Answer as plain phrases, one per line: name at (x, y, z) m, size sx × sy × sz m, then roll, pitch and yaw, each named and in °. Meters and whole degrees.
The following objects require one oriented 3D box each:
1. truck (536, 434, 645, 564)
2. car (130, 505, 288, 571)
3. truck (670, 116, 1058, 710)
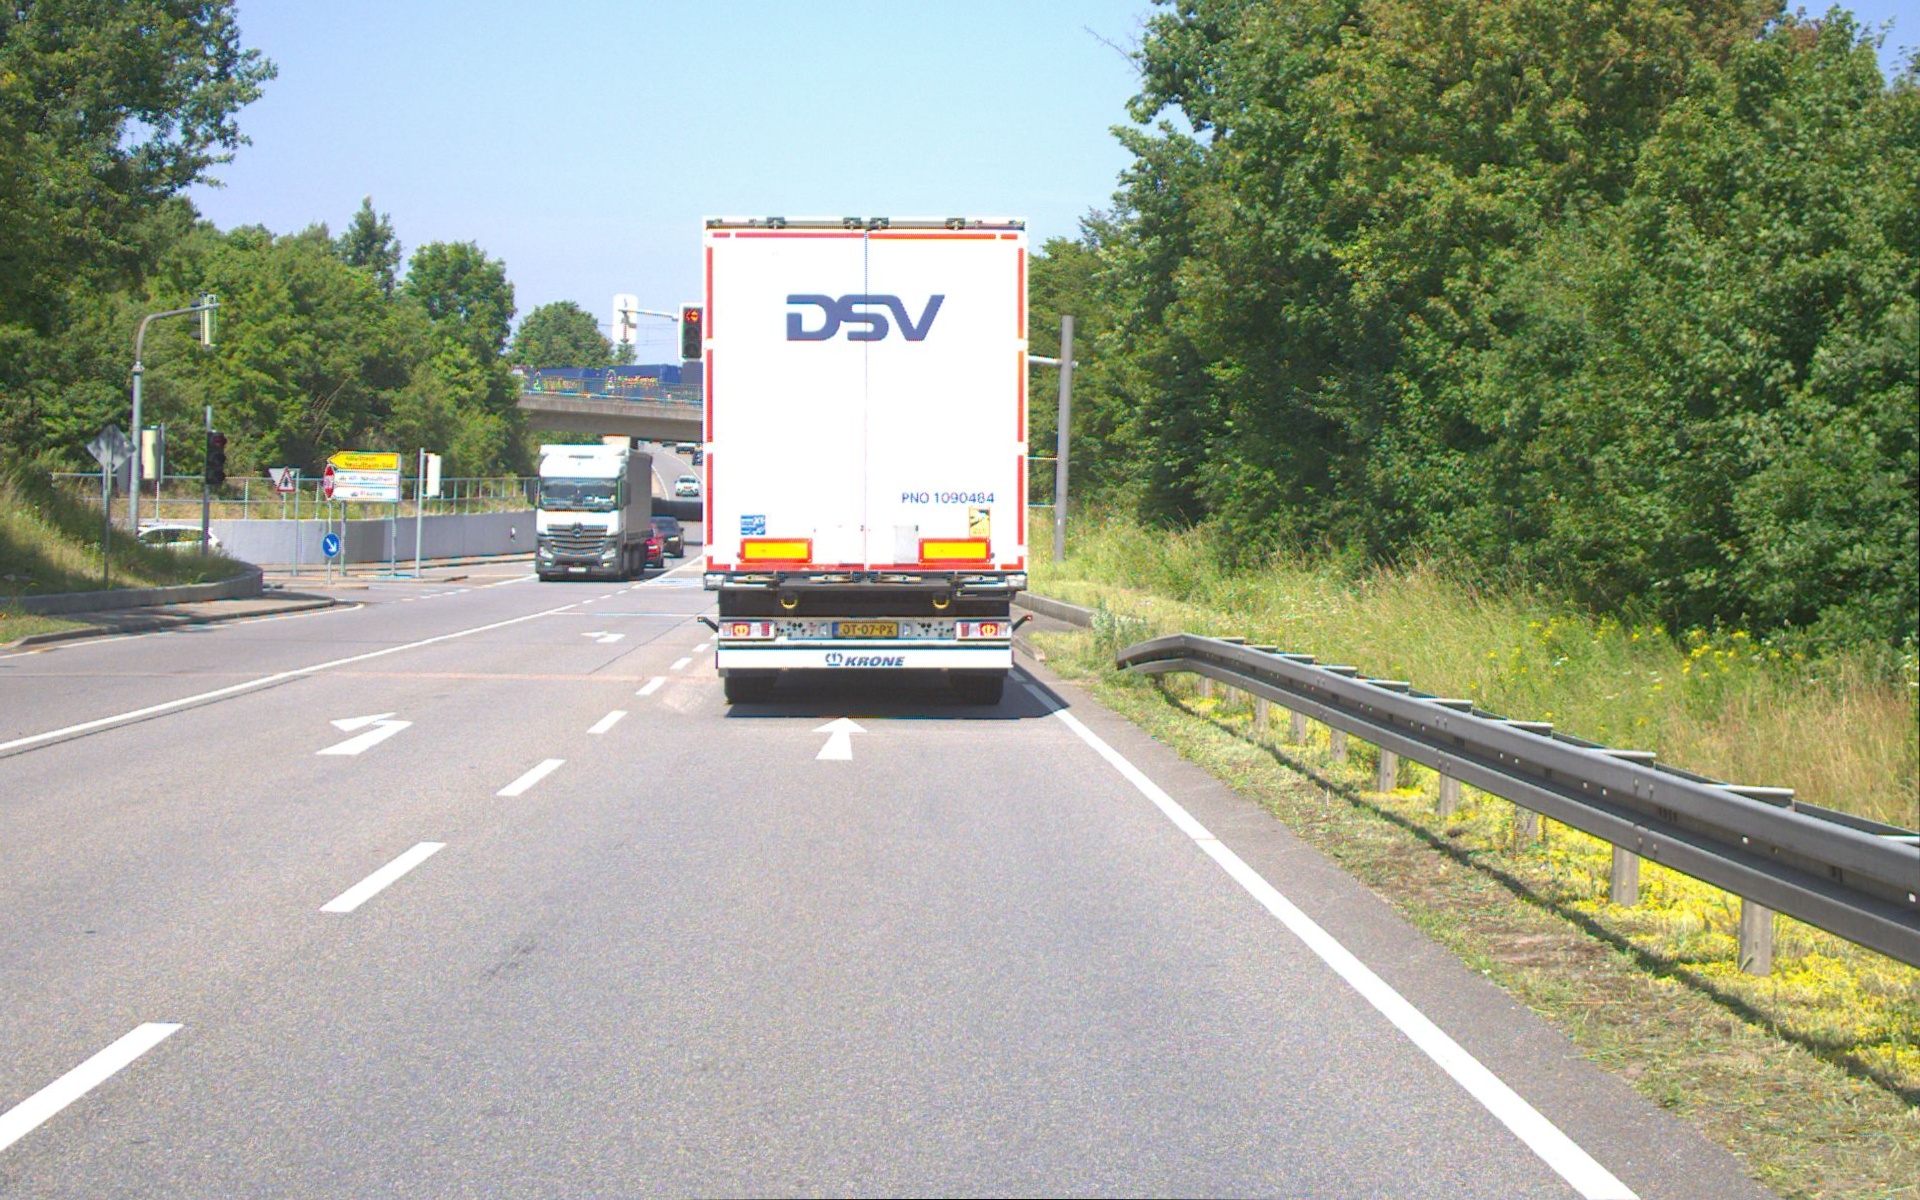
truck at (-11.249, -3.100, 105.569) m, size 2.353 × 3.737 × 12.627 m, roll 0°, pitch 2°, yaw -2°
car at (-21.976, -1.838, 100.723) m, size 1.806 × 1.865 × 4.410 m, roll 2°, pitch 2°, yaw 38°
truck at (-0.934, -1.539, 31.481) m, size 2.949 × 4.553 × 9.864 m, roll 1°, pitch 1°, yaw -2°
